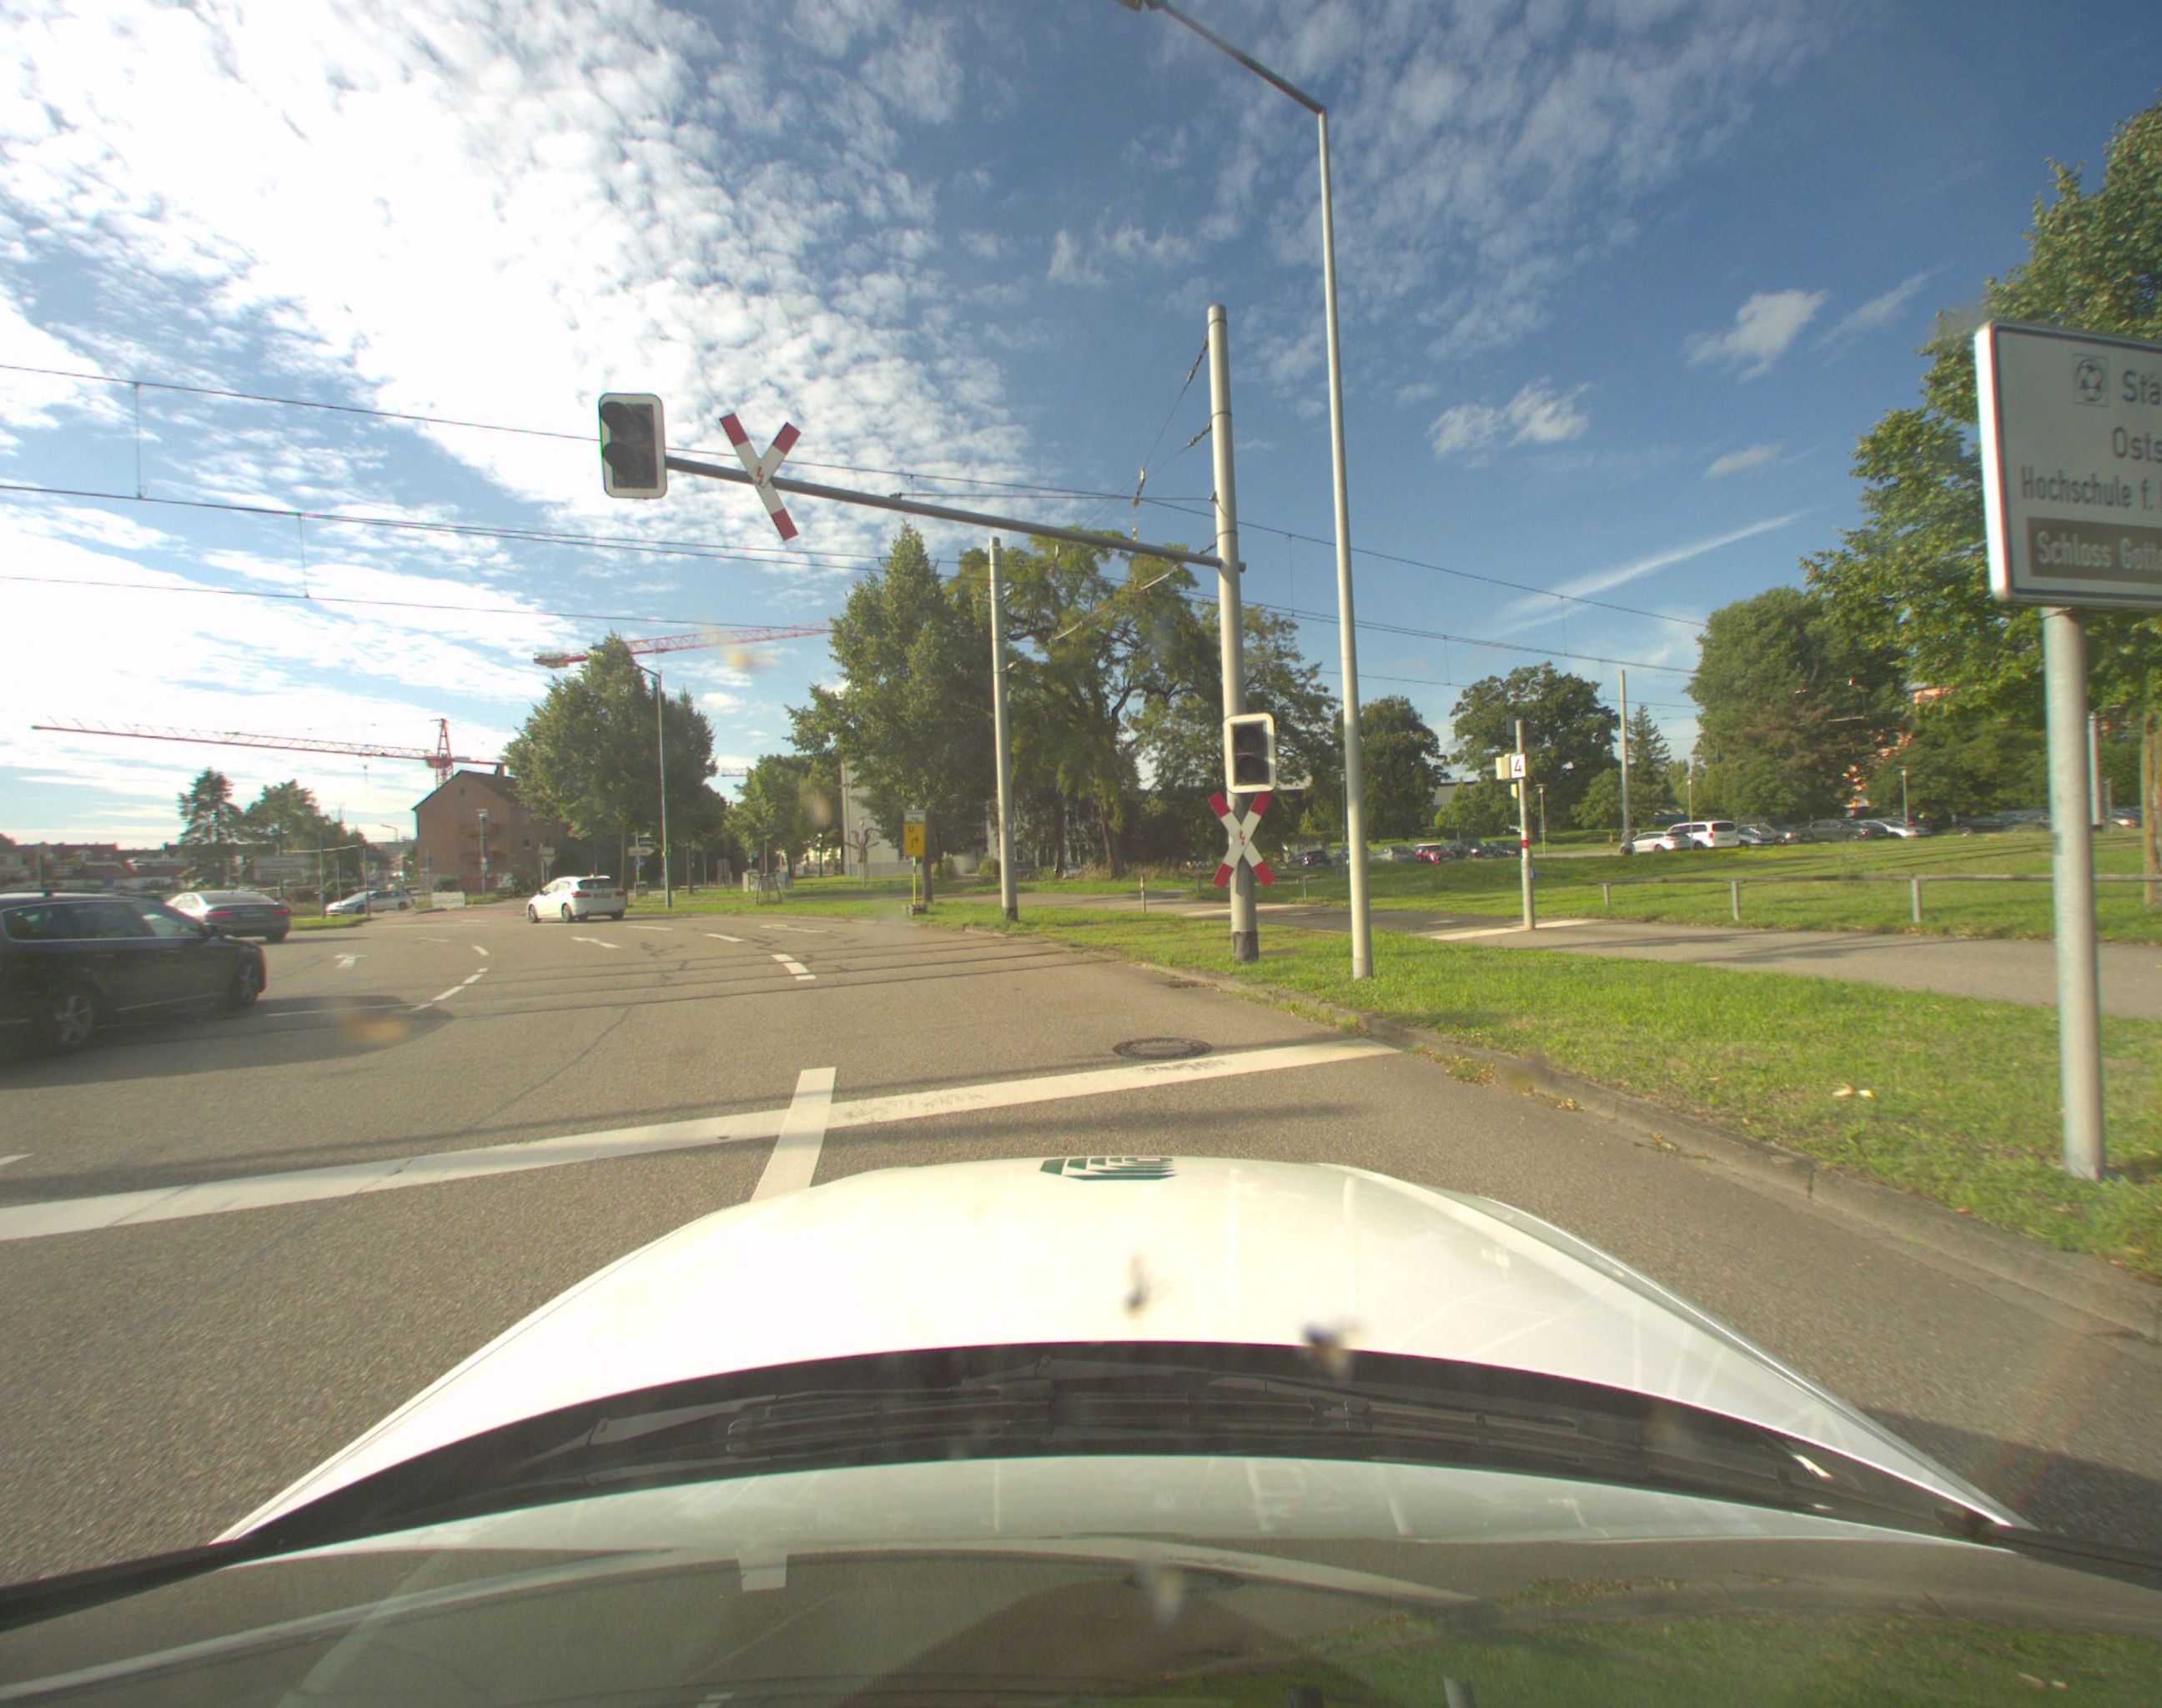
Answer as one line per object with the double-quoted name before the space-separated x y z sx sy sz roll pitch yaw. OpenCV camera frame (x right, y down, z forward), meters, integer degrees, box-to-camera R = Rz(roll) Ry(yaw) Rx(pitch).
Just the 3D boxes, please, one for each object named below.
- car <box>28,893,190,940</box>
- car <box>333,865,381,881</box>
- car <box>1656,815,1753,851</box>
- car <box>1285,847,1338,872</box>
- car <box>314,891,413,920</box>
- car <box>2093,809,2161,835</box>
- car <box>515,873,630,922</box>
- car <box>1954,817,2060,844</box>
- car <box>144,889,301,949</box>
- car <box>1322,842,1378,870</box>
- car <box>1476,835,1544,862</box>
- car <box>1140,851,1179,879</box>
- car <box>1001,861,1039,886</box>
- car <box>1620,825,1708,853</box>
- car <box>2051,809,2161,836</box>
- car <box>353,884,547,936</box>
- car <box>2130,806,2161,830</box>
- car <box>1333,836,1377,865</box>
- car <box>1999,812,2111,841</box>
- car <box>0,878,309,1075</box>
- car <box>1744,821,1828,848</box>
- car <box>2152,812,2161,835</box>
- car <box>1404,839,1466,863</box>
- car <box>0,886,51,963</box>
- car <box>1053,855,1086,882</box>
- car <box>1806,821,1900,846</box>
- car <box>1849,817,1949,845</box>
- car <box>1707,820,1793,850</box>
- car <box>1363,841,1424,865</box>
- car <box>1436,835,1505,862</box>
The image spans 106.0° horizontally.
"car" -46.434 2.921 39.071 1.885 1.903 4.671 -2 -1 8
"car" -83.571 2.214 94.057 1.751 1.618 4.024 -3 0 44
"car" 38.724 -1.259 50.780 2.300 2.007 5.117 -3 0 3
"car" 14.010 0.306 49.754 1.849 1.359 4.733 -3 0 0
"car" -44.683 3.183 50.868 1.809 1.452 4.548 -3 0 5
"car" 67.956 -2.056 51.766 1.845 1.541 4.473 -3 0 3
"car" -17.876 1.500 28.583 4.397 1.572 1.868 -2 -1 36
"car" 58.859 -1.451 51.878 1.790 1.515 4.473 -3 0 3
"car" -23.821 1.761 22.559 4.654 1.445 1.868 -2 -1 29
"car" 16.407 0.117 49.920 1.849 1.515 4.747 -3 0 0
"car" 26.513 -0.334 50.494 1.849 1.515 4.468 -3 0 0
"car" 4.694 0.657 49.295 1.849 1.515 4.733 -3 0 0
"car" -3.617 1.137 49.090 1.849 1.381 4.514 -3 0 0
"car" 35.970 -0.899 50.421 1.854 1.515 4.457 -3 0 -8
"car" 65.330 -1.973 51.865 1.845 1.453 4.473 -3 0 3
"car" -20.704 1.793 26.949 4.655 1.431 1.892 -2 -1 -16
"car" 70.718 -2.396 51.975 1.845 1.541 4.473 -3 0 3
"car" 20.830 -0.238 62.117 1.864 2.014 4.812 -1 -1 2
"car" 61.442 -1.699 51.489 1.845 1.541 4.473 -3 0 3
"car" -10.382 1.074 8.220 2.001 1.566 4.810 -2 -1 -21
"car" 44.001 -1.189 50.933 2.019 1.515 4.121 -3 0 8
"car" 73.027 -2.109 52.618 1.845 1.541 4.473 -3 0 3
"car" 21.799 -0.166 50.320 1.849 1.362 4.468 -3 0 0
"car" -24.036 1.531 17.766 4.014 1.572 1.785 -2 -1 36
"car" -0.652 0.863 49.423 1.849 1.440 4.733 -3 0 0
"car" 48.396 -1.253 51.189 1.847 1.398 4.473 -3 0 3
"car" 51.113 -1.420 51.025 1.847 1.504 4.473 -3 0 3
"car" 41.798 -1.168 51.037 2.084 1.674 4.479 -3 0 8
"car" 19.256 -0.044 50.385 1.849 1.358 4.833 -3 0 0
"car" 23.923 -0.326 50.191 1.849 1.515 4.944 -3 0 0
